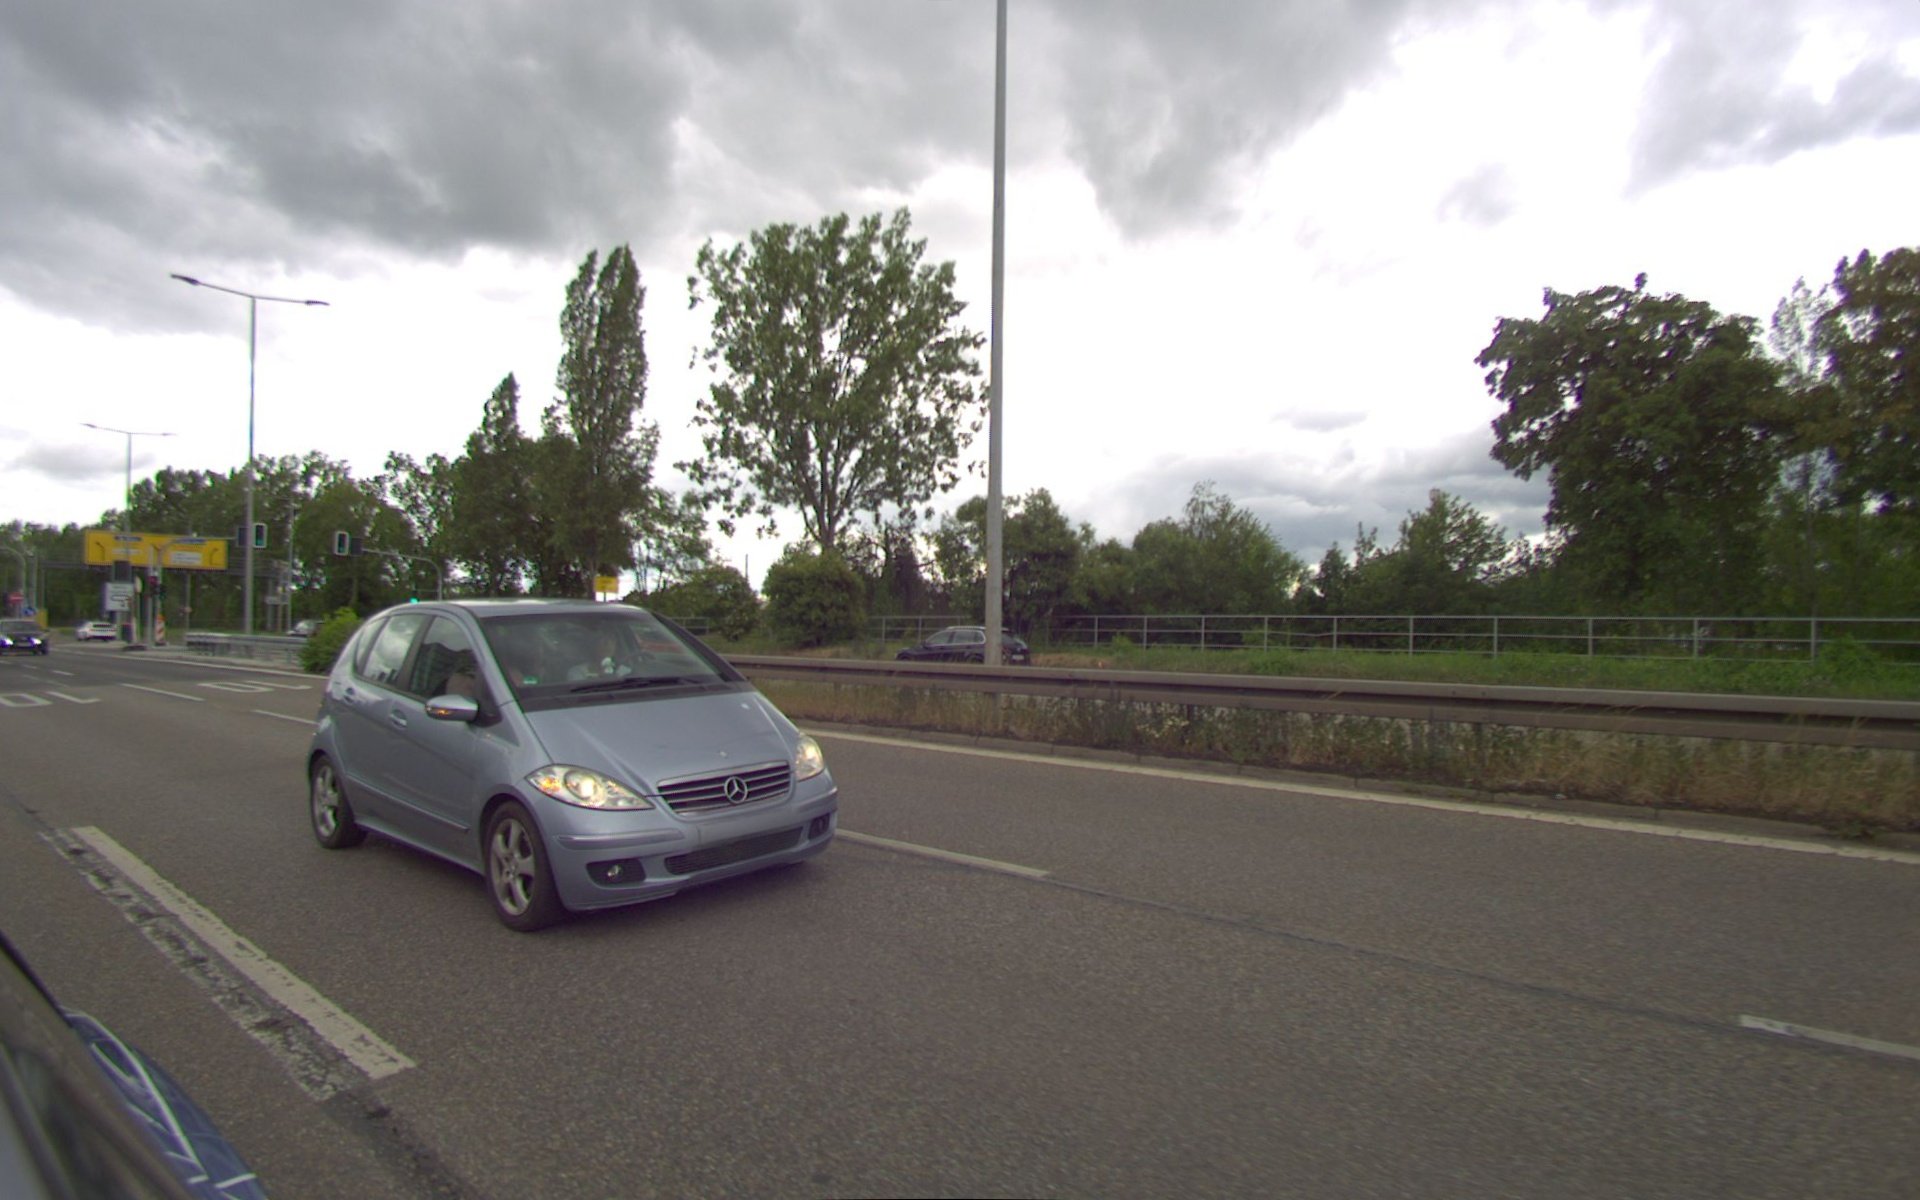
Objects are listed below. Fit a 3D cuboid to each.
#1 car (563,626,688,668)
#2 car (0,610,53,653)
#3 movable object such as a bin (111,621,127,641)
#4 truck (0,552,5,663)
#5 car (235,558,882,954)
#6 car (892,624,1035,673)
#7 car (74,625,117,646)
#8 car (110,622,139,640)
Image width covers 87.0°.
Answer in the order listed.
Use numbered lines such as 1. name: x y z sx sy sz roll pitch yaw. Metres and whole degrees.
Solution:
1. car: -9.601 1.316 28.906 4.064 1.114 1.529 -2 -2 41
2. car: -39.724 1.336 42.515 4.143 1.738 1.859 -2 -2 40
3. movable object such as a bin: -43.510 1.602 52.339 0.622 1.032 0.563 -2 -2 44
4. truck: -33.035 0.318 32.050 12.499 3.163 2.623 -2 -2 40
5. car: -2.585 0.669 6.031 4.143 1.551 1.859 -2 -2 40
6. car: 0.053 1.340 28.870 4.059 1.309 1.562 -2 -2 41
7. car: -67.280 2.782 78.751 4.998 1.537 1.680 -2 -4 40
8. car: -72.044 2.704 87.258 2.631 1.487 1.489 -2 -5 41
